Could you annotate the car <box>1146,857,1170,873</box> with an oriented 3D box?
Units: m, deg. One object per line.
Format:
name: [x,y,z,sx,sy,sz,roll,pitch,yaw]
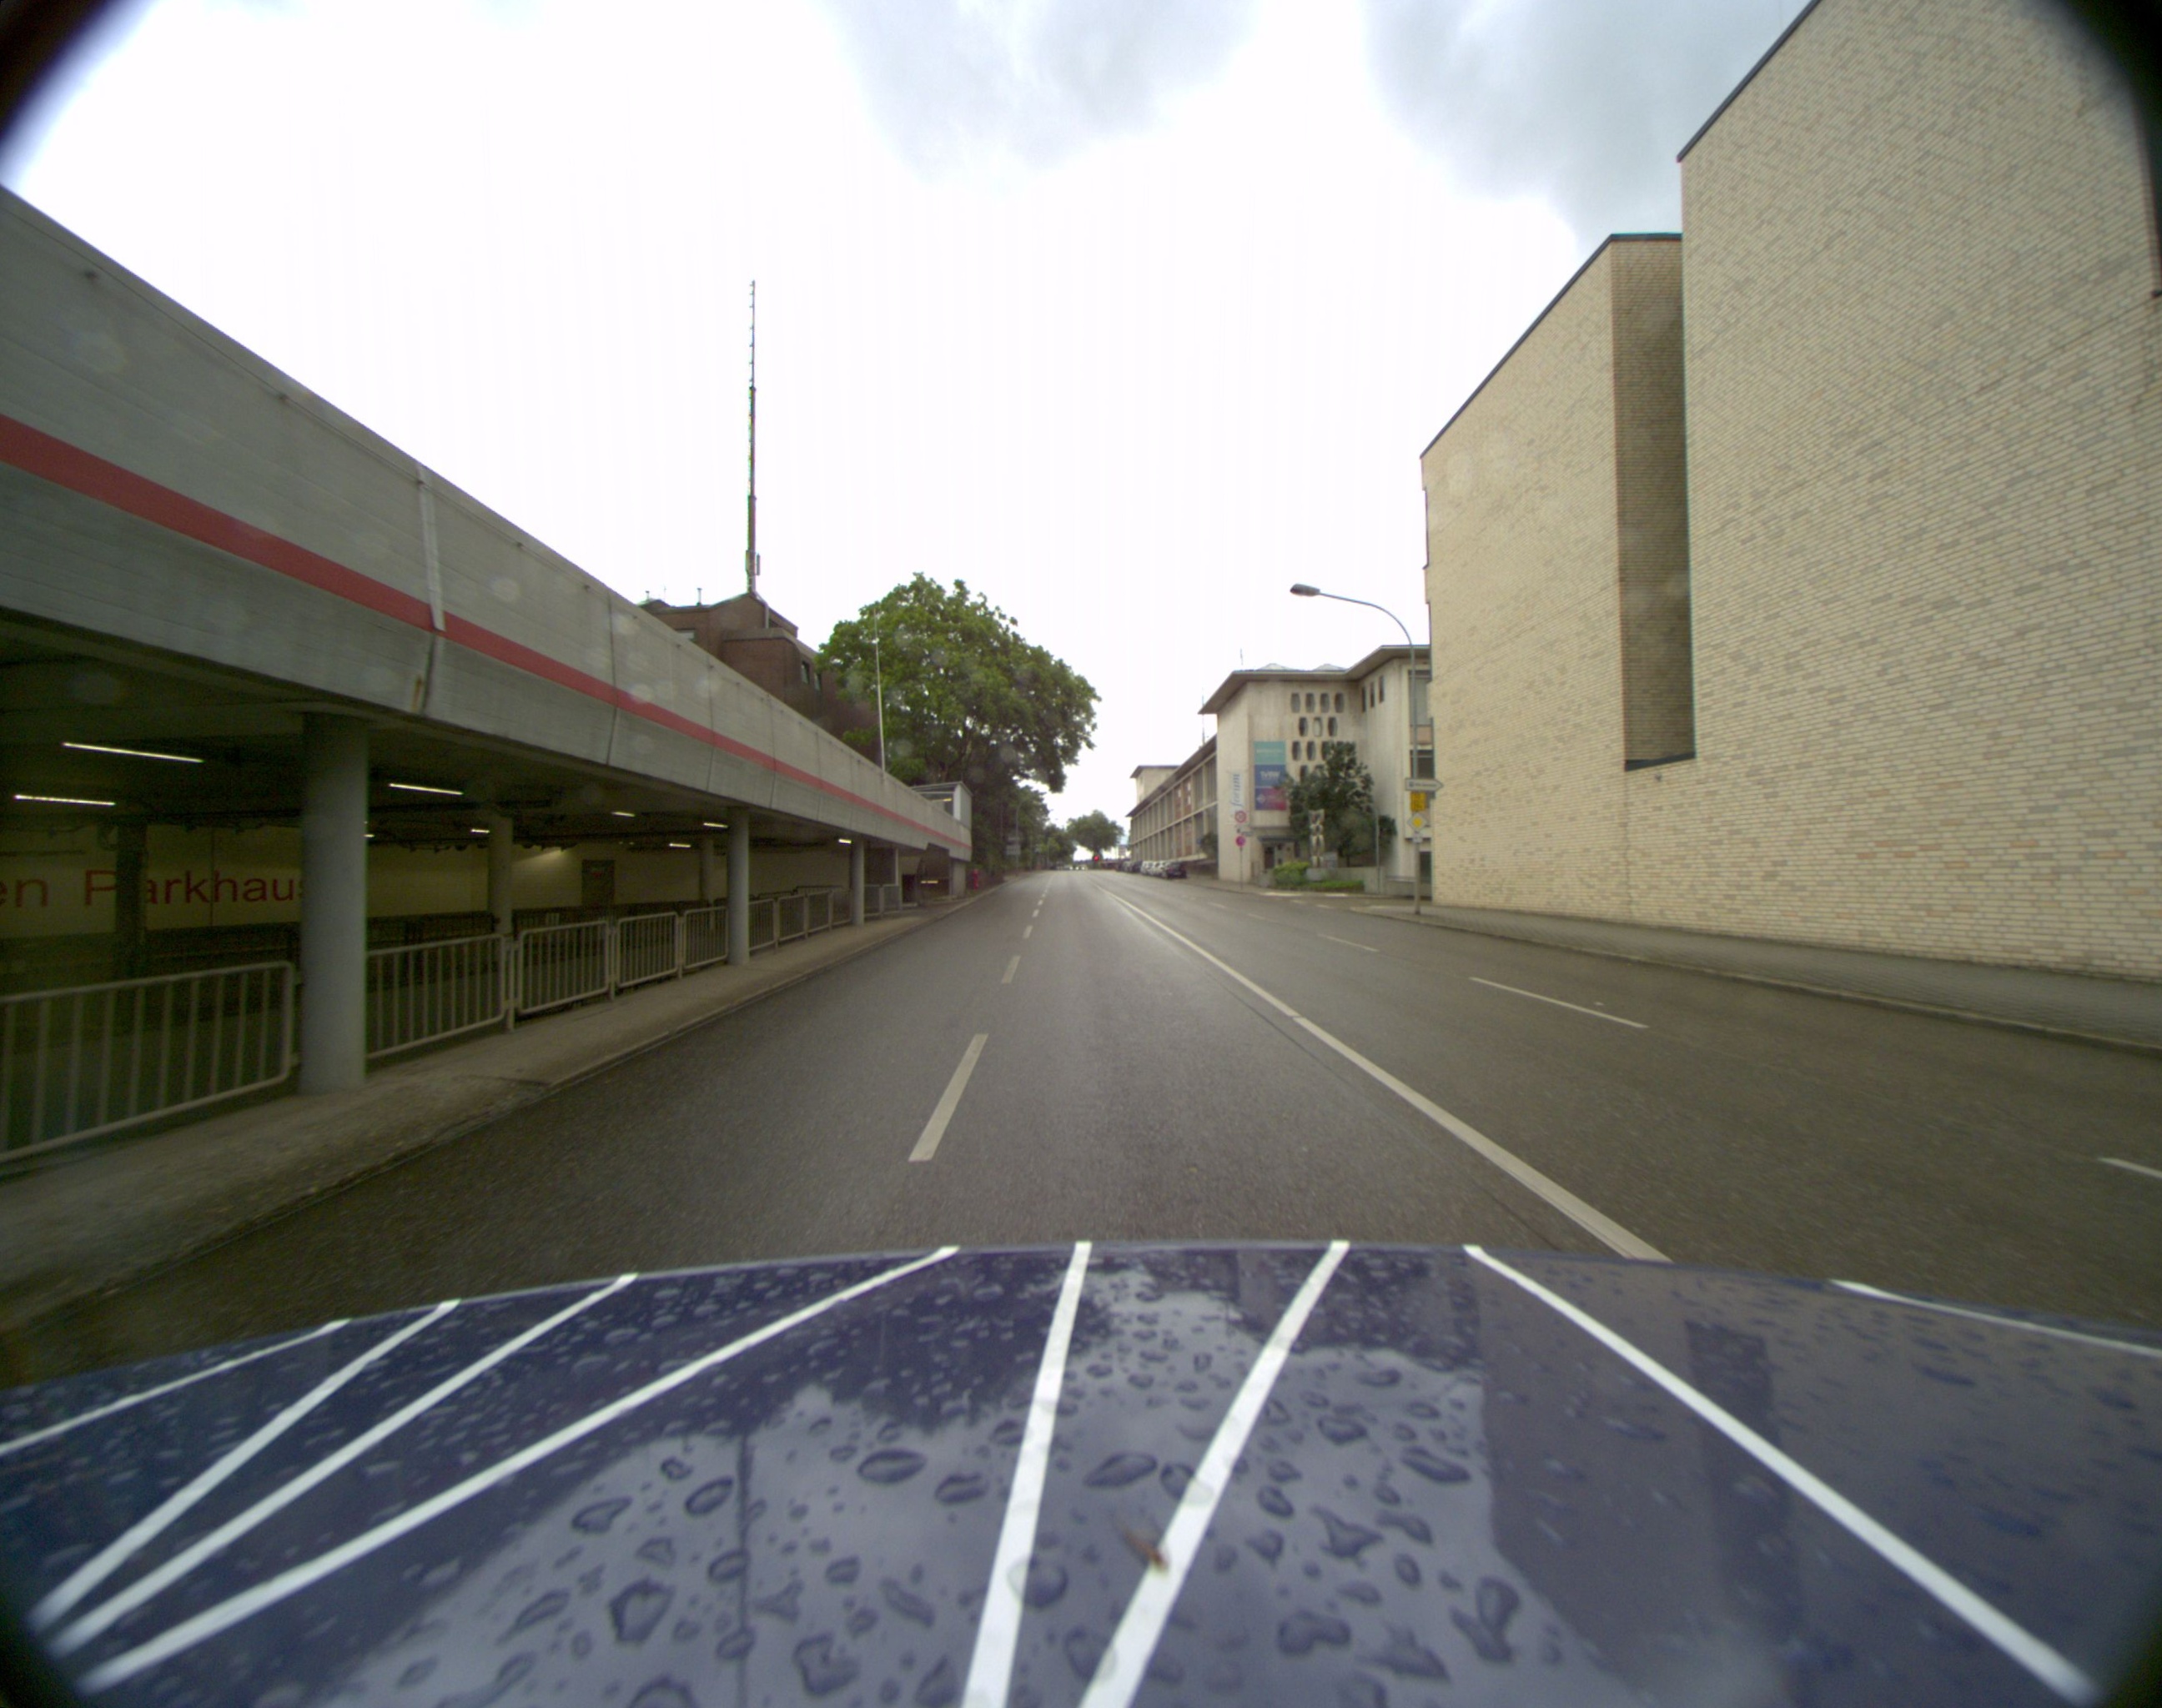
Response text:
car: [8.230,1.140,81.628,1.999,1.482,4.185,-3,1,-1]

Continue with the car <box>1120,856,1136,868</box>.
car: [7.248,1.246,117.388,1.999,1.637,3.998,-4,2,-2]

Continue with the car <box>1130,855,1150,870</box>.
car: [7.459,1.007,96.272,1.999,1.701,3.999,-3,1,-2]

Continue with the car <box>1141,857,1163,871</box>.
car: [8.215,1.114,87.996,1.999,1.521,3.999,1,1,-2]

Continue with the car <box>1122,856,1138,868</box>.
car: [7.278,1.197,112.669,1.999,1.528,3.999,-3,1,-2]

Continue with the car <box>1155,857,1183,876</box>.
car: [8.225,1.142,71.275,1.999,1.632,3.999,-3,1,-1]

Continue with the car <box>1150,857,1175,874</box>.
car: [8.172,1.184,76.472,1.998,1.503,3.999,-3,1,0]

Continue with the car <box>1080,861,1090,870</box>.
car: [0.937,2.811,186.938,1.806,2.002,3.997,-3,1,-7]

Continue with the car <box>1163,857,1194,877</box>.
car: [8.421,1.131,65.982,1.999,1.520,3.999,-3,1,-2]
